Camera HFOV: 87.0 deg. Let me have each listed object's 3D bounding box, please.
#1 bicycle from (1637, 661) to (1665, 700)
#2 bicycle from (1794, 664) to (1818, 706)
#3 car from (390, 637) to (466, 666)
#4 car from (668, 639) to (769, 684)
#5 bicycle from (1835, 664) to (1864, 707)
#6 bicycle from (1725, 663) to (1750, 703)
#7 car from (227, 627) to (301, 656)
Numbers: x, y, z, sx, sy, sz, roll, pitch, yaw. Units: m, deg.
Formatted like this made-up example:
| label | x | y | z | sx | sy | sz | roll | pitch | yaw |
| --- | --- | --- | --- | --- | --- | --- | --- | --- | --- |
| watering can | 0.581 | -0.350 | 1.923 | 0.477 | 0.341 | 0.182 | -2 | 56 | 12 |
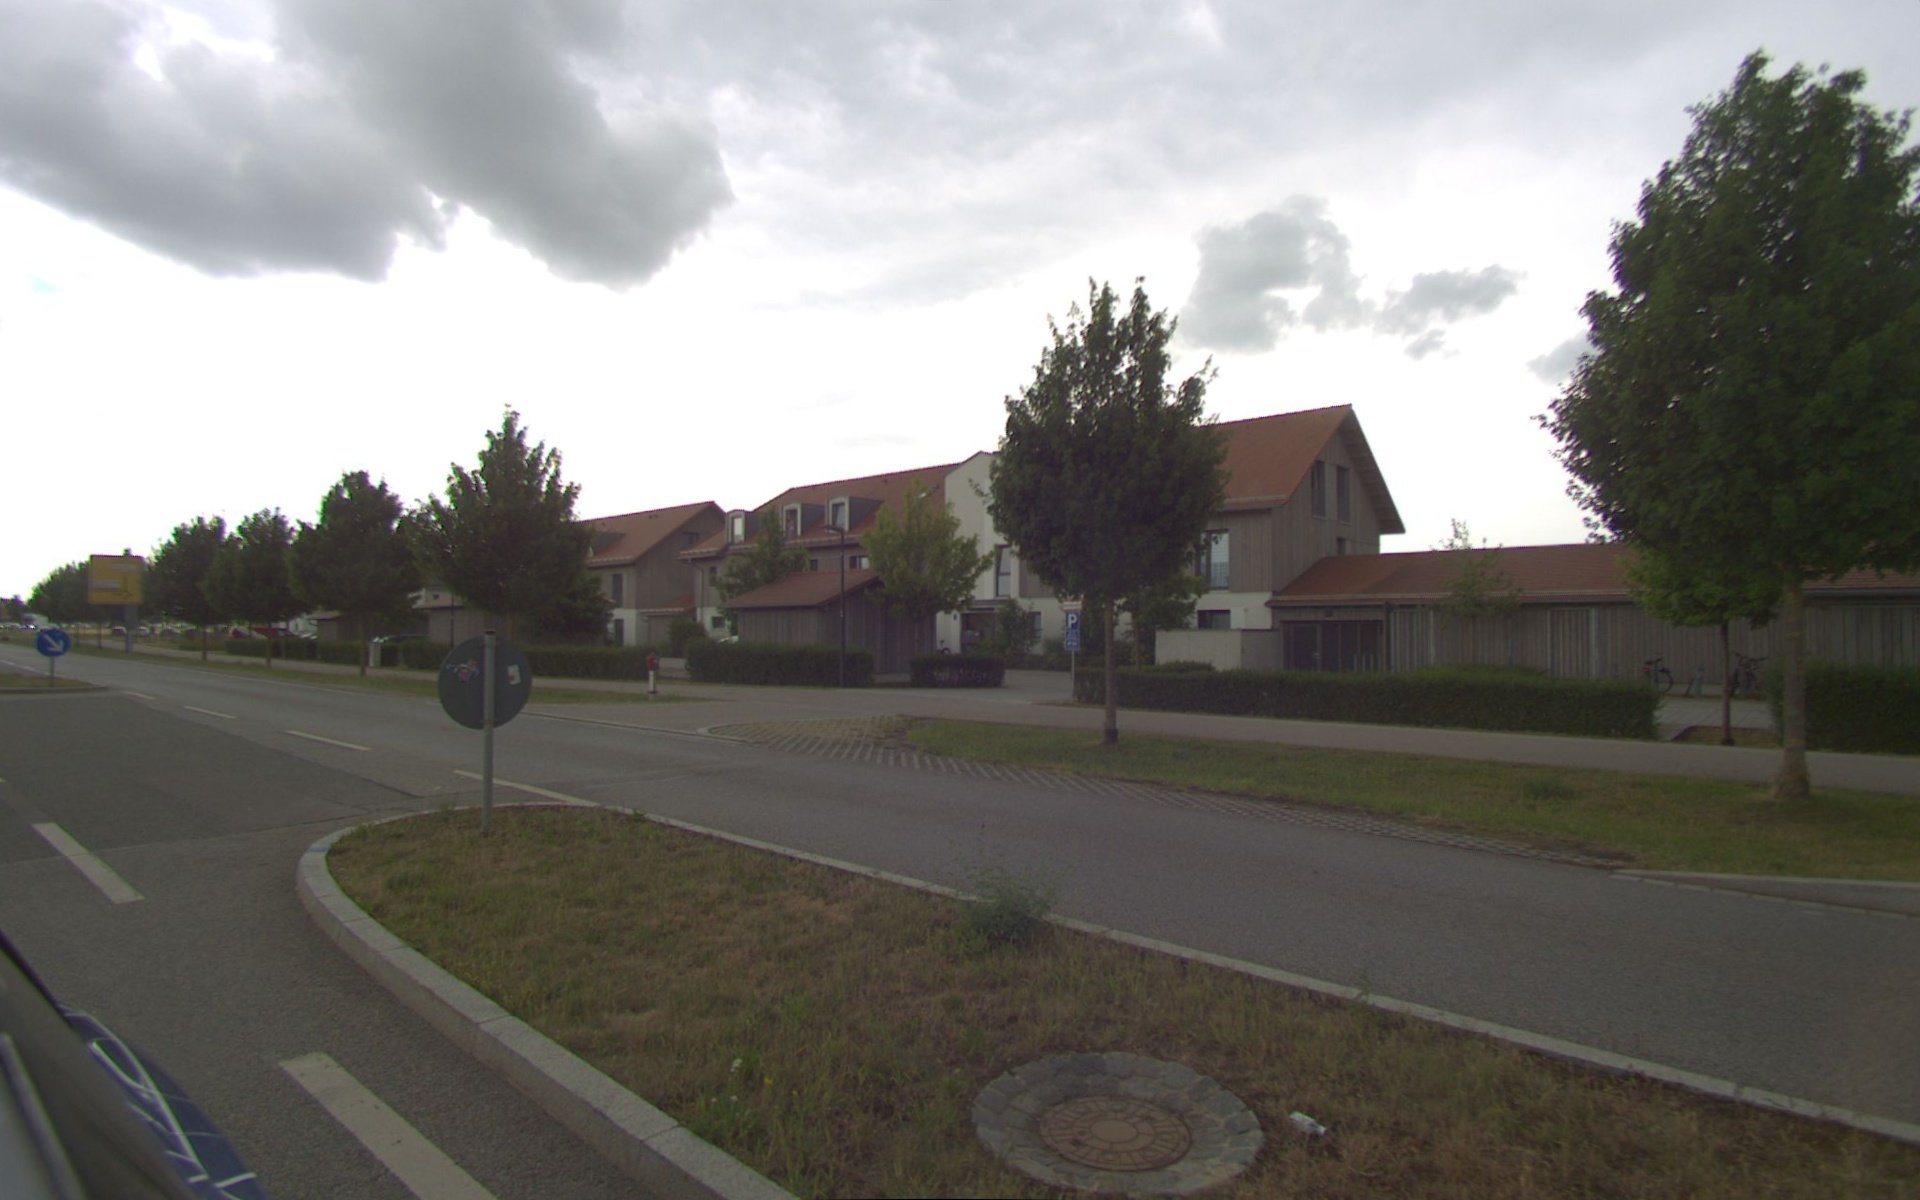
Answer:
| label | x | y | z | sx | sy | sz | roll | pitch | yaw |
| --- | --- | --- | --- | --- | --- | --- | --- | --- | --- |
| bicycle | 18.072 | 2.091 | 26.455 | 0.419 | 0.916 | 1.922 | -1 | -2 | 39 |
| bicycle | 20.432 | 2.036 | 24.457 | 0.419 | 0.916 | 1.922 | -1 | -2 | 39 |
| car | -29.893 | 2.894 | 56.944 | 1.300 | 1.450 | 3.546 | -1 | 0 | 41 |
| car | -8.845 | 2.228 | 37.227 | 1.300 | 1.450 | 3.546 | -1 | 0 | 41 |
| bicycle | 21.012 | 2.007 | 23.923 | 0.419 | 0.916 | 1.922 | -1 | -2 | 39 |
| bicycle | 19.460 | 2.061 | 25.306 | 0.419 | 0.916 | 1.922 | -1 | -2 | 39 |
| car | -54.561 | 3.219 | 79.356 | 4.505 | 2.029 | 2.001 | 0 | 0 | -44 |
